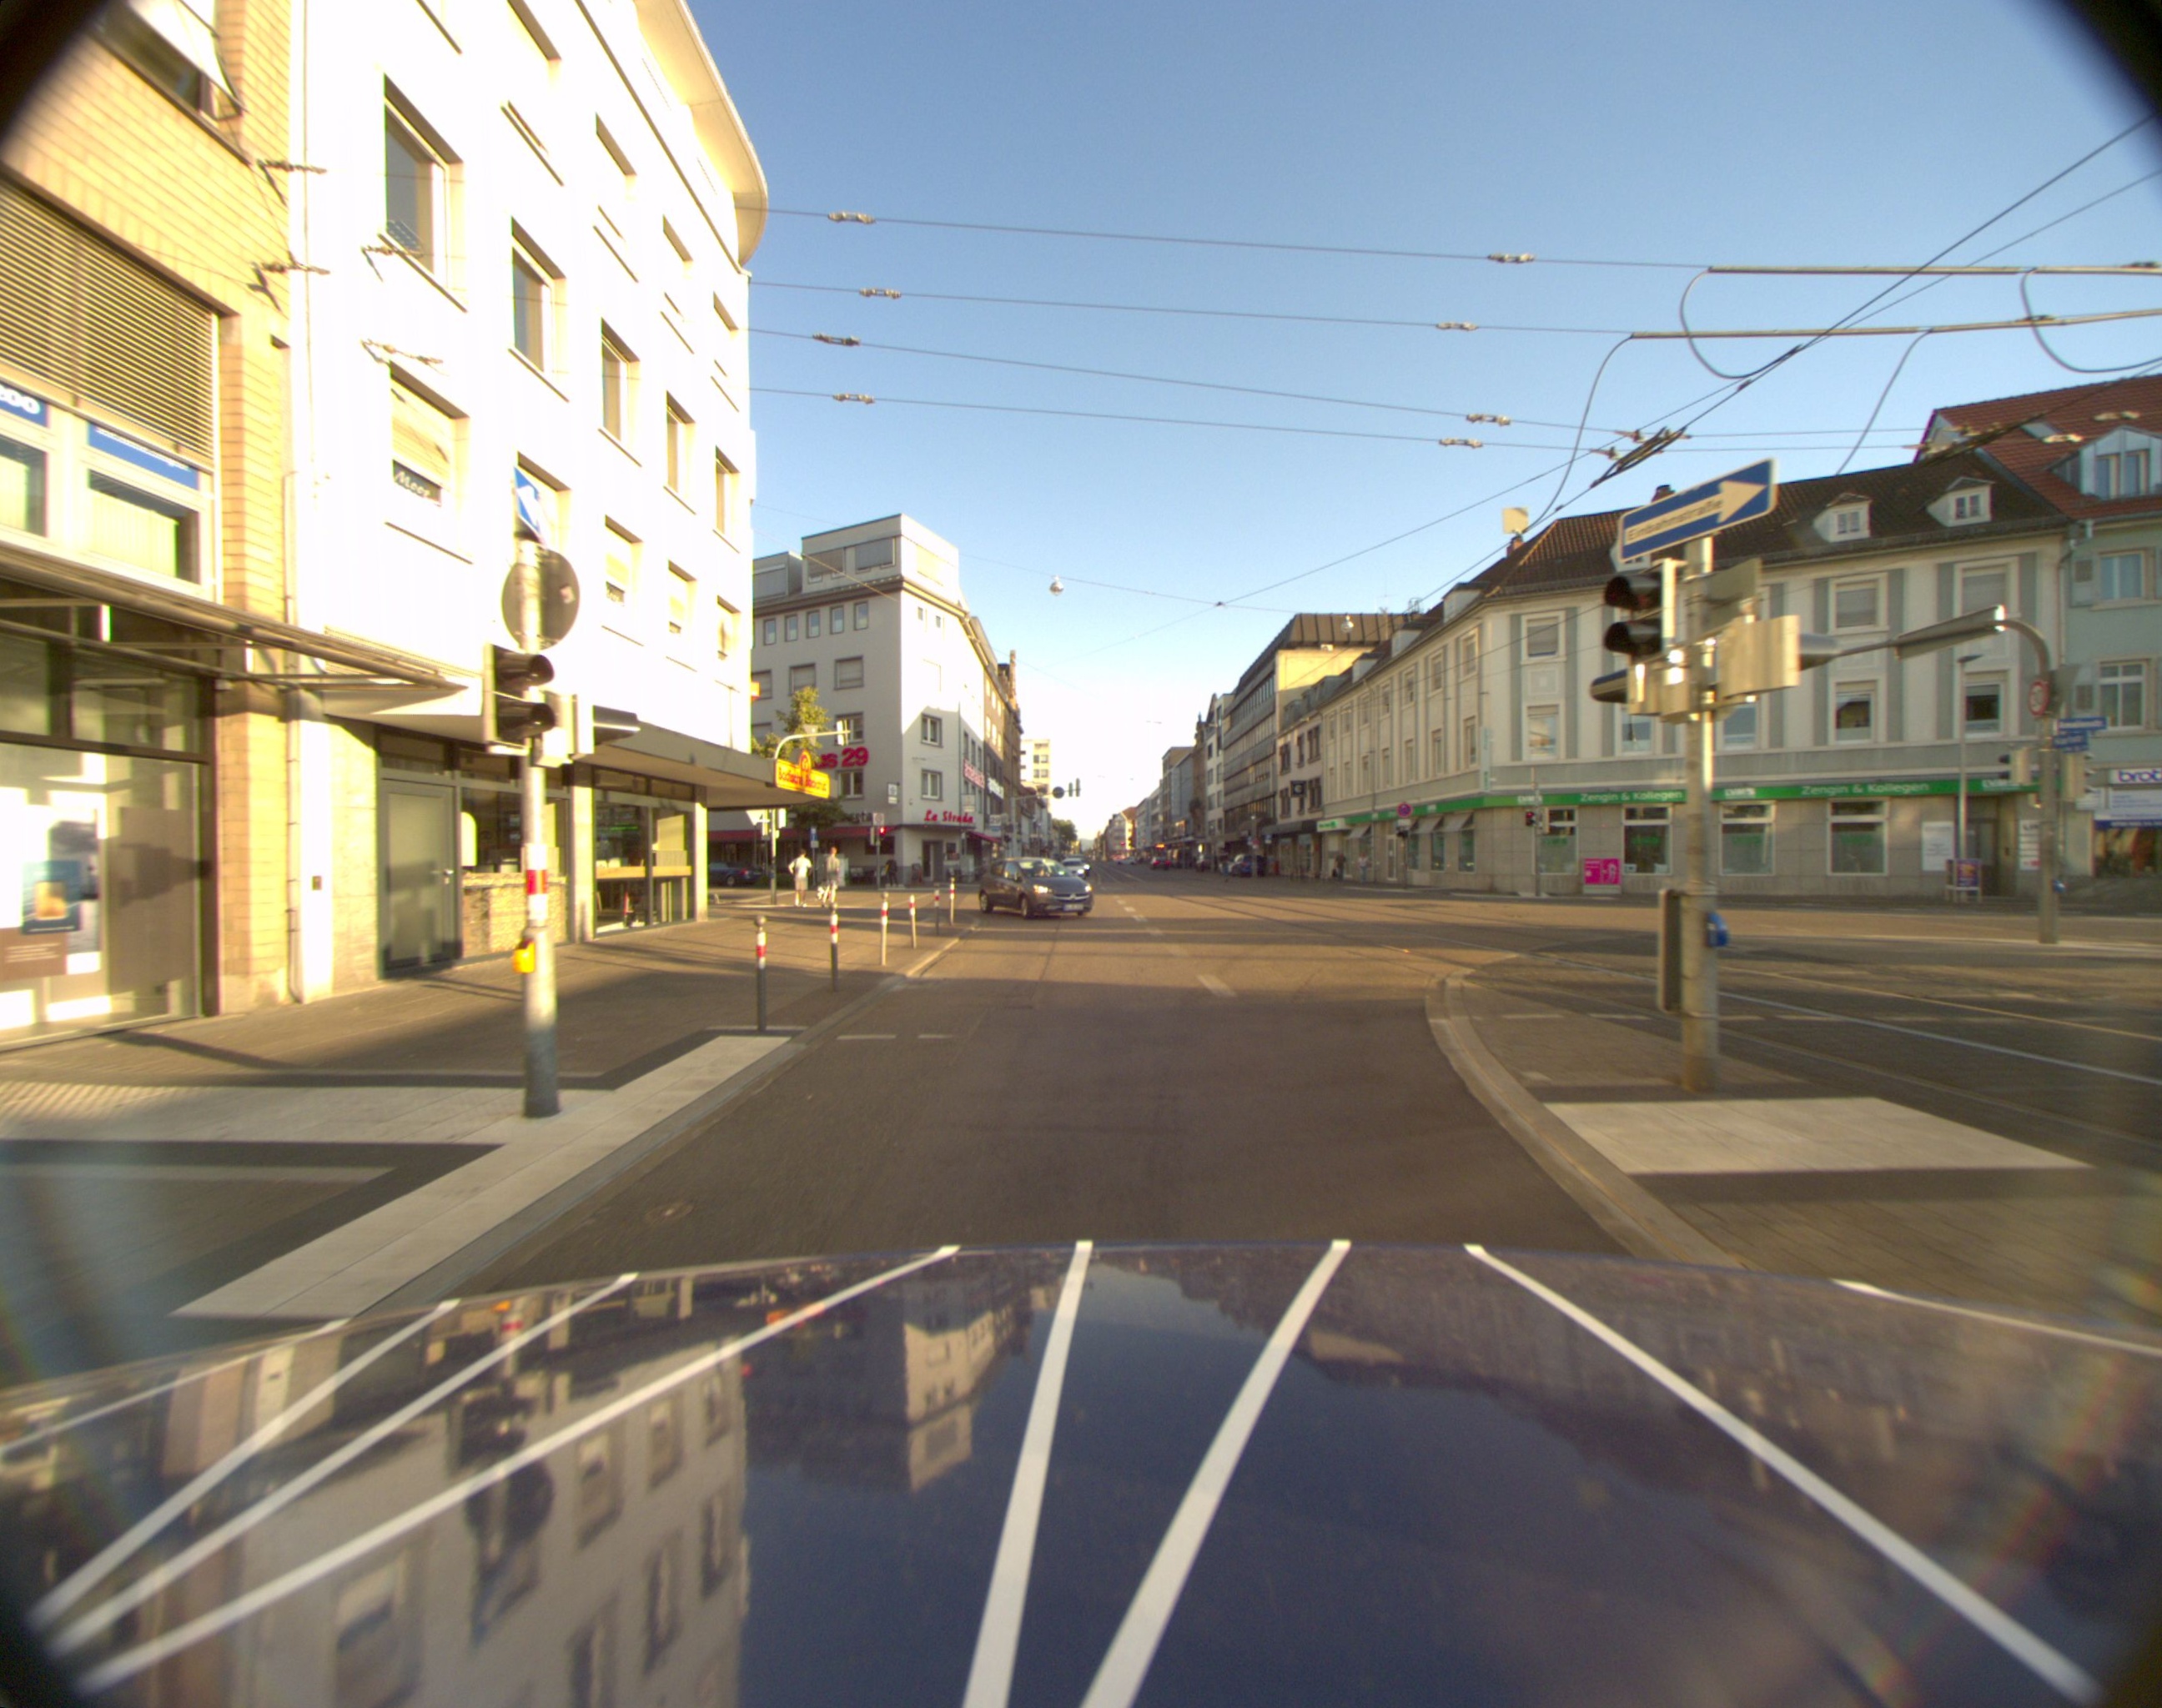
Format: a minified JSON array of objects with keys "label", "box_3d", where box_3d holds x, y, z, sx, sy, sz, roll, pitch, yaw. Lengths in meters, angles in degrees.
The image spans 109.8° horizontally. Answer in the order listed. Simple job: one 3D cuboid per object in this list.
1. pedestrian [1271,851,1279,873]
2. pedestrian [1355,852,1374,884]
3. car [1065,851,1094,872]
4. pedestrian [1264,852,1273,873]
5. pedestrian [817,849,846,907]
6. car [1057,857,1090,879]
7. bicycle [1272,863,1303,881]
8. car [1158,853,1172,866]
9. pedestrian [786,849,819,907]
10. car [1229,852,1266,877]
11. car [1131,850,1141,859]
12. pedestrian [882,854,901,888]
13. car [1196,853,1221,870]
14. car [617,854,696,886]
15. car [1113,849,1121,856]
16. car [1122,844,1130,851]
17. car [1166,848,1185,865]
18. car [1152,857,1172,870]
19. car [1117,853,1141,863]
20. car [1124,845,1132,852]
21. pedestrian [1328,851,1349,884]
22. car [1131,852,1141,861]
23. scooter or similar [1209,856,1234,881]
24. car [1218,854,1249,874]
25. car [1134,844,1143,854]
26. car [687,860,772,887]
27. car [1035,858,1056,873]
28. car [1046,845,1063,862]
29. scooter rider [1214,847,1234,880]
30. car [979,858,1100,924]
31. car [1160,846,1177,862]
[{"label":"pedestrian","box_3d":[15.585,0.624,60.979,0.515,1.724,0.601,0,2,0]},{"label":"pedestrian","box_3d":[14.600,0.706,39.110,0.826,1.630,0.815,-1,0,16]},{"label":"car","box_3d":[-0.094,0.530,58.310,1.998,1.471,4.000,0,2,3]},{"label":"pedestrian","box_3d":[15.040,0.675,60.950,0.509,1.675,0.583,-1,2,-1]},{"label":"pedestrian","box_3d":[-7.707,0.740,23.492,0.749,1.763,0.586,0,1,-7]},{"label":"car","box_3d":[-0.453,0.908,50.961,1.914,1.350,3.747,-2,0,3]},{"label":"bicycle","box_3d":[12.236,1.074,45.104,1.740,1.052,0.499,0,-1,9]},{"label":"car","box_3d":[13.473,0.902,122.165,1.833,1.906,3.998,0,2,0]},{"label":"pedestrian","box_3d":[-8.653,0.729,23.597,0.749,1.763,0.639,0,1,3]},{"label":"car","box_3d":[12.624,0.749,57.829,1.915,1.785,4.128,-2,1,0]},{"label":"car","box_3d":[13.517,0.049,186.774,1.960,2.002,3.998,0,2,-2]},{"label":"pedestrian","box_3d":[-9.365,0.849,37.582,0.799,1.646,0.586,0,0,-3]},{"label":"car","box_3d":[12.664,0.730,75.518,1.819,1.548,3.999,0,2,1]},{"label":"car","box_3d":[-24.004,0.861,42.982,3.990,1.654,1.722,0,2,21]},{"label":"car","box_3d":[11.037,-0.519,232.444,1.999,2.002,3.998,0,2,-2]},{"label":"car","box_3d":[13.358,-1.952,226.183,1.999,2.002,3.998,0,2,-2]},{"label":"car","box_3d":[12.141,0.280,97.999,1.998,2.002,3.999,0,2,1]},{"label":"car","box_3d":[9.322,1.125,87.655,1.895,1.471,4.544,1,-1,1]},{"label":"car","box_3d":[8.555,0.672,136.221,3.827,1.738,1.810,1,2,26]},{"label":"car","box_3d":[13.568,-1.703,220.598,1.999,2.002,3.998,0,2,-2]},{"label":"pedestrian","box_3d":[13.700,0.717,40.452,0.827,1.718,0.813,-2,0,0]},{"label":"car","box_3d":[12.499,0.584,173.334,1.974,2.002,3.998,0,2,-2]},{"label":"scooter or similar","box_3d":[7.812,0.803,42.216,0.544,1.343,1.673,0,1,41]},{"label":"car","box_3d":[12.756,0.798,63.714,1.701,1.614,4.000,-1,0,0]},{"label":"car","box_3d":[13.563,-1.162,179.478,1.975,2.181,4.132,0,2,0]},{"label":"car","box_3d":[-18.703,1.024,40.421,4.301,1.345,1.657,1,0,23]},{"label":"car","box_3d":[-3.687,1.205,79.950,2.042,1.550,4.386,0,0,-1]},{"label":"car","box_3d":[-3.351,-0.024,96.640,2.042,2.105,4.386,0,0,-1]},{"label":"scooter rider","box_3d":[8.003,0.516,42.443,0.811,1.797,0.789,2,3,40]},{"label":"car","box_3d":[-1.149,0.852,19.161,1.590,1.445,3.834,-1,1,-28]},{"label":"car","box_3d":[12.014,-0.022,104.726,1.998,2.047,3.999,0,2,1]}]
